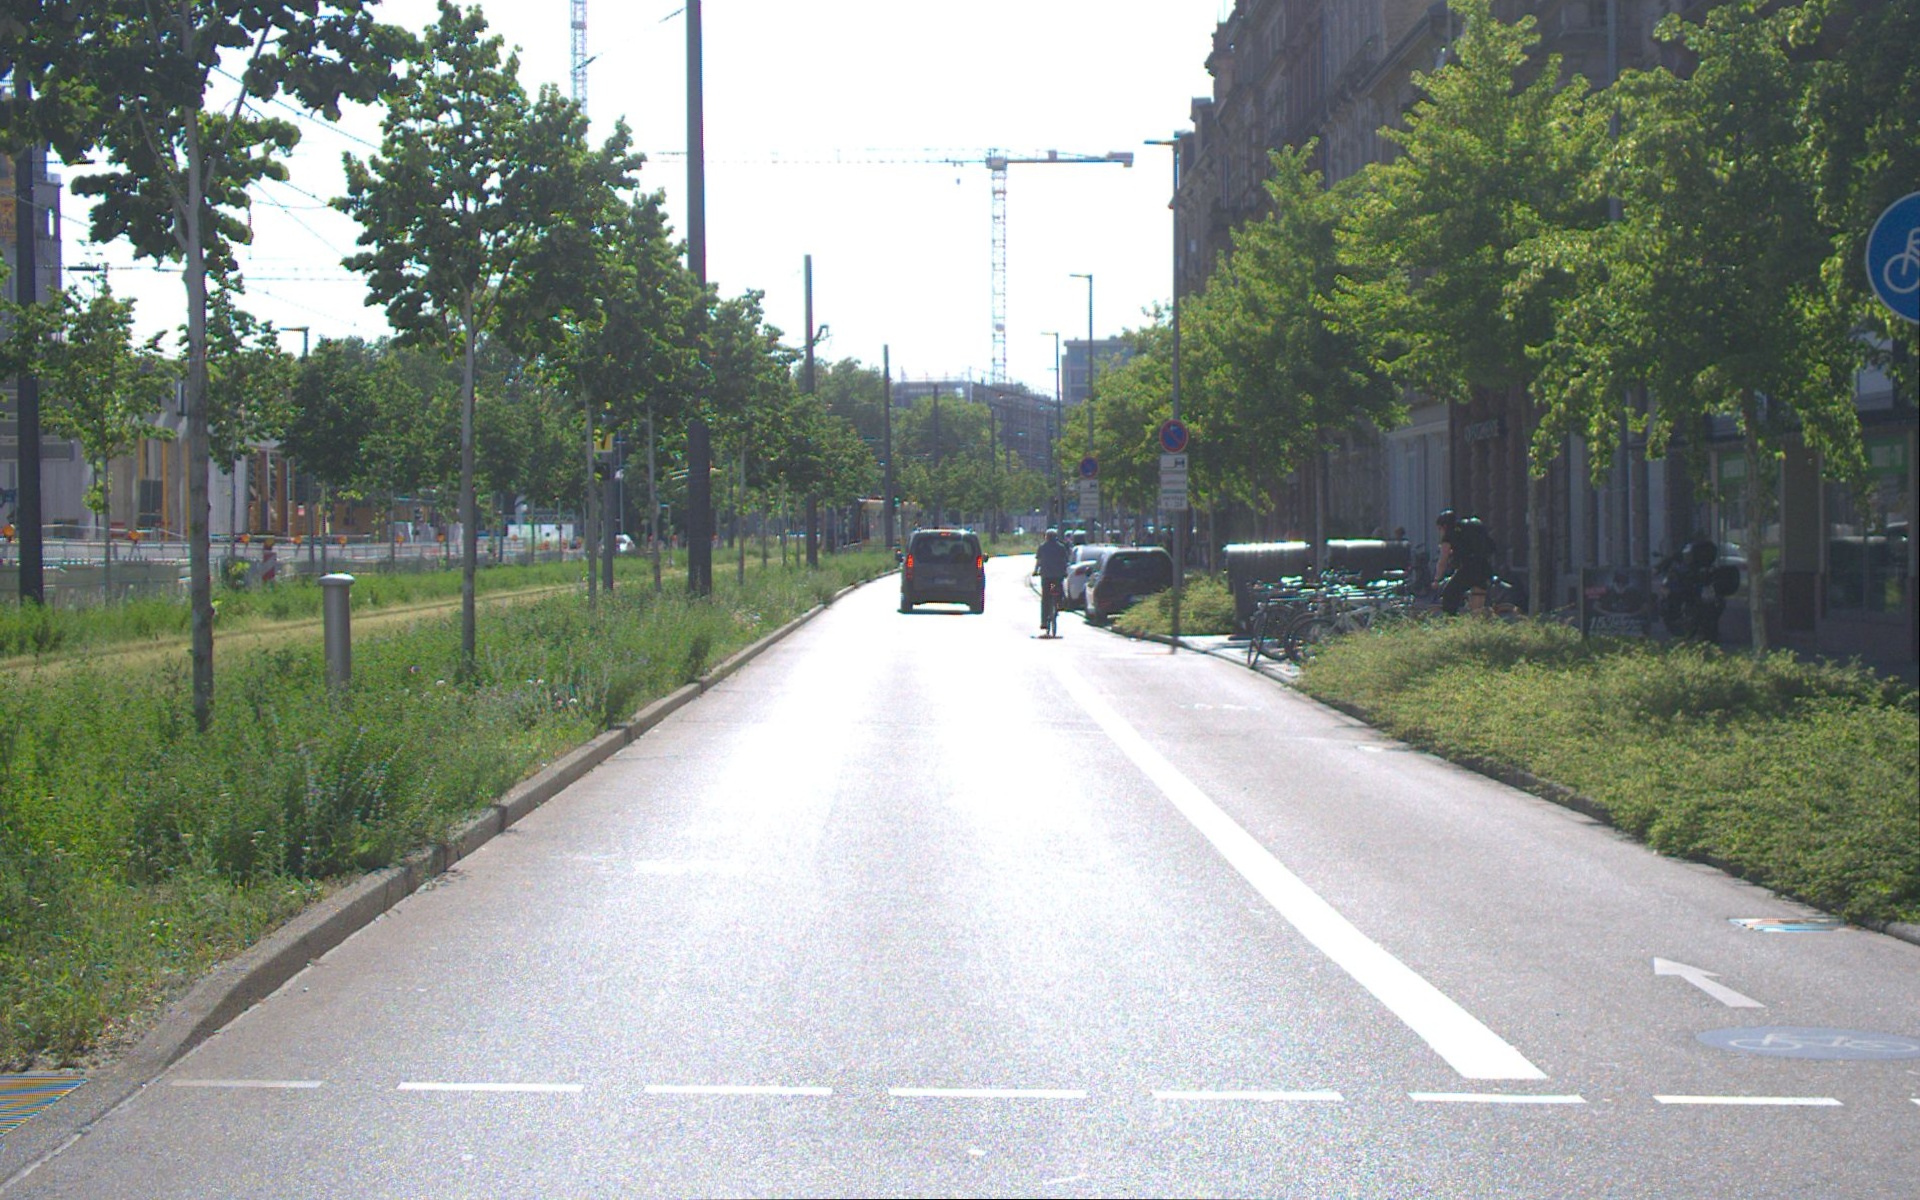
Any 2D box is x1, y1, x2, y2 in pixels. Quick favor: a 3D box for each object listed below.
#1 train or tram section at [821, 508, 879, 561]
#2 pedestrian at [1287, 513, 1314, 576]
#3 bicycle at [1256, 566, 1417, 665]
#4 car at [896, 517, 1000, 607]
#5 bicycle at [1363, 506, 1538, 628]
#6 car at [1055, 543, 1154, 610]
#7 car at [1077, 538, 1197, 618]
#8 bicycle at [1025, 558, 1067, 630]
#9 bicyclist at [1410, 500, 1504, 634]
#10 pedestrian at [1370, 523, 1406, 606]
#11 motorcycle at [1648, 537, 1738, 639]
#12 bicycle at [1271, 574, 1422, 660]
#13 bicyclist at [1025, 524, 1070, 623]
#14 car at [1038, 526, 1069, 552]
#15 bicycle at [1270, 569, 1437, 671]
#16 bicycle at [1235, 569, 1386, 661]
[{"bbox_3d":[-5.960,-3.523,187.431,2.756,2.733,9.864,1,0,0],"label":"train or tram section"},{"bbox_3d":[8.722,-1.427,88.083,0.614,1.606,0.669,-1,1,-1],"label":"pedestrian"},{"bbox_3d":[4.494,0.182,41.078,1.792,1.027,0.527,-5,1,0],"label":"bicycle"},{"bbox_3d":[-0.290,-0.861,76.289,2.200,1.919,4.654,-1,1,-1],"label":"car"},{"bbox_3d":[5.863,-0.389,41.135,1.897,1.326,0.616,-4,1,34],"label":"bicycle"},{"bbox_3d":[3.329,-0.572,79.780,2.028,1.493,4.530,-1,1,-1],"label":"car"},{"bbox_3d":[3.428,-0.455,67.432,2.028,1.493,4.654,-1,1,-1],"label":"car"},{"bbox_3d":[1.471,-0.113,58.750,0.601,1.177,1.869,2,1,-1],"label":"bicycle"},{"bbox_3d":[5.938,-0.398,41.080,0.799,1.525,0.661,-4,1,33],"label":"bicyclist"},{"bbox_3d":[8.324,-0.698,66.860,0.614,1.606,0.669,-1,1,-1],"label":"pedestrian"},{"bbox_3d":[9.401,-0.174,44.163,0.700,1.263,1.982,-1,1,-1],"label":"motorcycle"},{"bbox_3d":[4.776,0.208,42.499,1.792,1.027,0.527,-1,1,0],"label":"bicycle"},{"bbox_3d":[1.491,-0.468,58.935,0.684,1.667,0.922,2,1,-1],"label":"bicyclist"},{"bbox_3d":[6.551,-4.264,240.583,1.993,1.723,4.000,1,0,-1],"label":"car"},{"bbox_3d":[4.518,0.226,39.537,1.792,1.027,0.527,-5,1,0],"label":"bicycle"},{"bbox_3d":[4.473,0.186,43.923,1.792,1.027,0.527,-5,1,0],"label":"bicycle"}]
